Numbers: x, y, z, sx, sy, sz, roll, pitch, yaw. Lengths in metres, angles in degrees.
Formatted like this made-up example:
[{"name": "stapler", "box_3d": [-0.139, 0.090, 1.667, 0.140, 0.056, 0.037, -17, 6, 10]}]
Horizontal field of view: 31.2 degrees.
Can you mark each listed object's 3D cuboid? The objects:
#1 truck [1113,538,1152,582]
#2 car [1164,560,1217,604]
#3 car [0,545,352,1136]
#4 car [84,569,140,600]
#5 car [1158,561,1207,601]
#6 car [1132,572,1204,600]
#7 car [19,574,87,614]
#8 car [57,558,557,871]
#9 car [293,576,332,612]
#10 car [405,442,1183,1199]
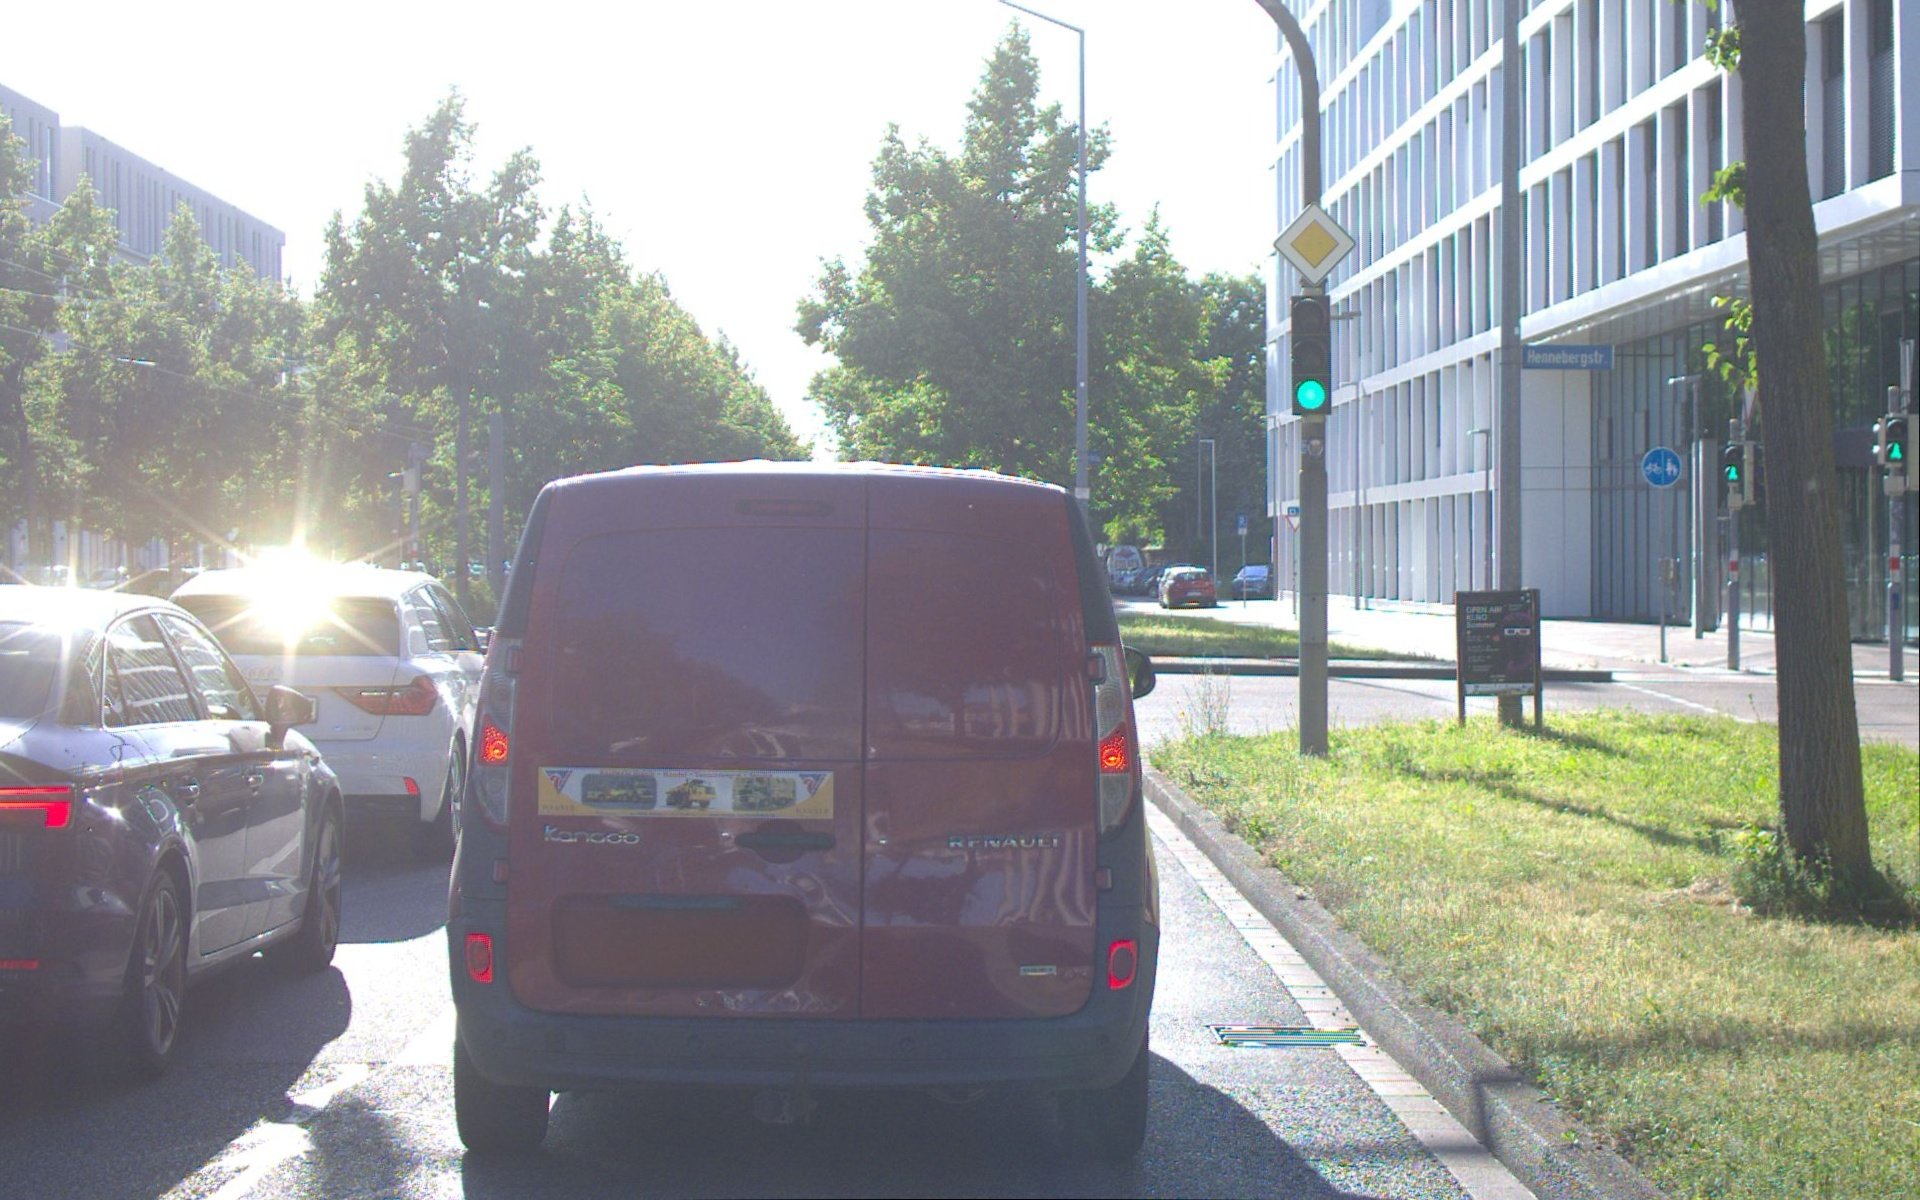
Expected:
[{"name": "truck", "box_3d": [9.971, -2.317, 198.858, 1.831, 2.492, 5.933, 0, 0, -1]}, {"name": "car", "box_3d": [8.532, -0.693, 127.656, 1.758, 1.606, 3.903, 0, 1, 1]}, {"name": "car", "box_3d": [-3.163, 0.590, 10.901, 1.808, 1.522, 4.113, 0, 1, -1]}, {"name": "car", "box_3d": [-36.774, -0.670, 149.071, 1.580, 1.338, 3.712, 0, 1, -1]}, {"name": "car", "box_3d": [8.594, -0.740, 132.860, 1.819, 1.527, 3.437, 0, 1, 3]}, {"name": "car", "box_3d": [10.006, -0.662, 165.669, 3.399, 1.354, 1.470, 0, 0, 6]}, {"name": "car", "box_3d": [-35.981, -0.249, 136.480, 1.776, 1.523, 3.806, 0, 1, -1]}, {"name": "car", "box_3d": [-3.252, 0.503, 17.909, 1.808, 1.430, 4.113, 0, 1, 0]}, {"name": "car", "box_3d": [-37.429, -0.374, 198.771, 1.728, 2.007, 4.001, 0, 1, -3]}, {"name": "car", "box_3d": [-0.381, 0.497, 10.051, 1.808, 1.788, 4.113, 0, 1, 0]}]
